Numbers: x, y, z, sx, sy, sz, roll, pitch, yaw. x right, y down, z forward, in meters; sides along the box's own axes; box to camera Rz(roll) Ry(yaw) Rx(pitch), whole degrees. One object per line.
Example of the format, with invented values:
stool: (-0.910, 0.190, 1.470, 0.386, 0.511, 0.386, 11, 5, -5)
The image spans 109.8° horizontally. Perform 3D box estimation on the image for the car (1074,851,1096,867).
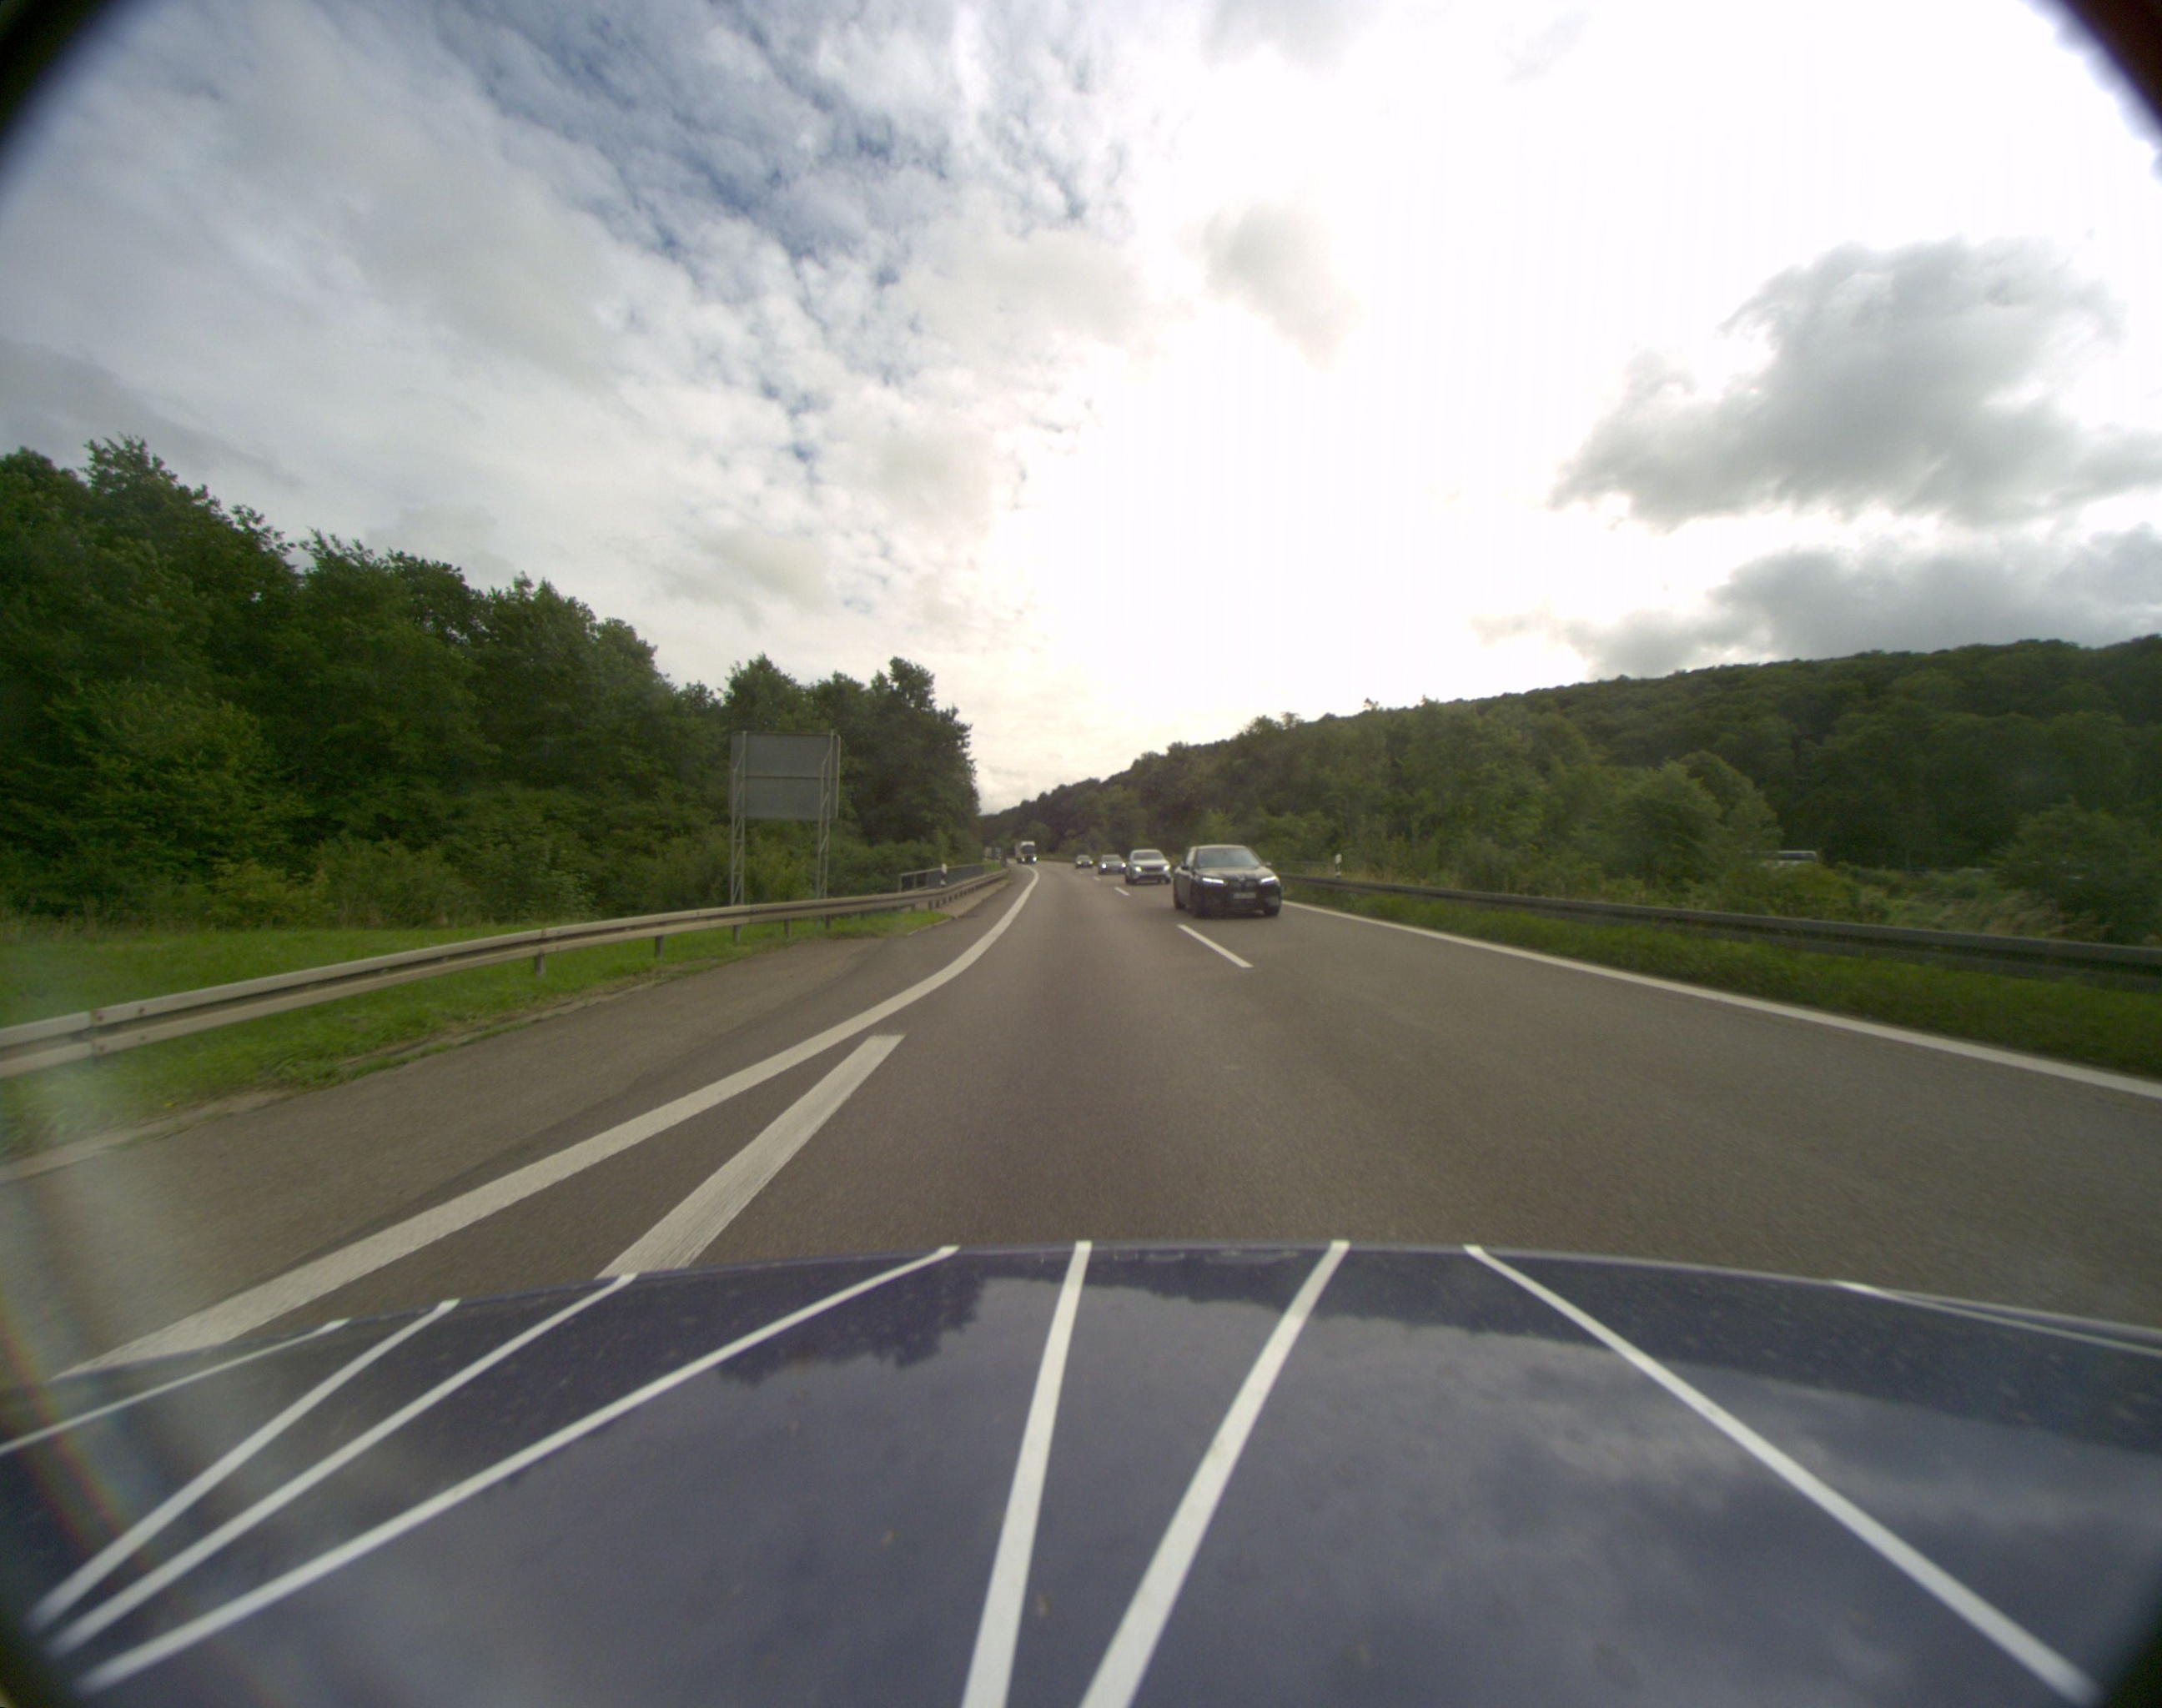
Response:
car: (0.418, 0.556, 86.233, 1.999, 1.656, 4.411, -1, 2, -6)

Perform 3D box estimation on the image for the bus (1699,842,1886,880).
bus: (97.683, 0.803, 105.024, 5.594, 4.910, 18.257, 1, 0, -39)

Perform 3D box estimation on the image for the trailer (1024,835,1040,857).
trailer: (-9.233, -1.491, 142.965, 2.787, 3.932, 11.290, -1, 1, -4)

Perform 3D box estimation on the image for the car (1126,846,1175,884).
car: (3.313, 0.490, 36.937, 1.998, 1.656, 4.414, -1, 1, 1)

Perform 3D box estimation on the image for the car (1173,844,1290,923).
car: (3.551, 0.619, 18.819, 1.998, 1.656, 4.414, -2, 1, 0)

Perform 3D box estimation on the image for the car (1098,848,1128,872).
car: (2.403, 0.412, 58.347, 1.999, 1.656, 4.413, -1, 1, -1)

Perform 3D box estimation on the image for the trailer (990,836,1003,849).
trailer: (-25.329, -3.432, 227.636, 2.789, 3.932, 11.282, -2, 1, -12)

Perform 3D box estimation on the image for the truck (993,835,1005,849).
truck: (-23.714, -3.361, 220.265, 2.798, 3.949, 5.933, -2, 1, -12)

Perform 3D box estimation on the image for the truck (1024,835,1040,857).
truck: (-8.921, -1.445, 137.995, 2.796, 3.949, 5.937, -1, 1, -3)
